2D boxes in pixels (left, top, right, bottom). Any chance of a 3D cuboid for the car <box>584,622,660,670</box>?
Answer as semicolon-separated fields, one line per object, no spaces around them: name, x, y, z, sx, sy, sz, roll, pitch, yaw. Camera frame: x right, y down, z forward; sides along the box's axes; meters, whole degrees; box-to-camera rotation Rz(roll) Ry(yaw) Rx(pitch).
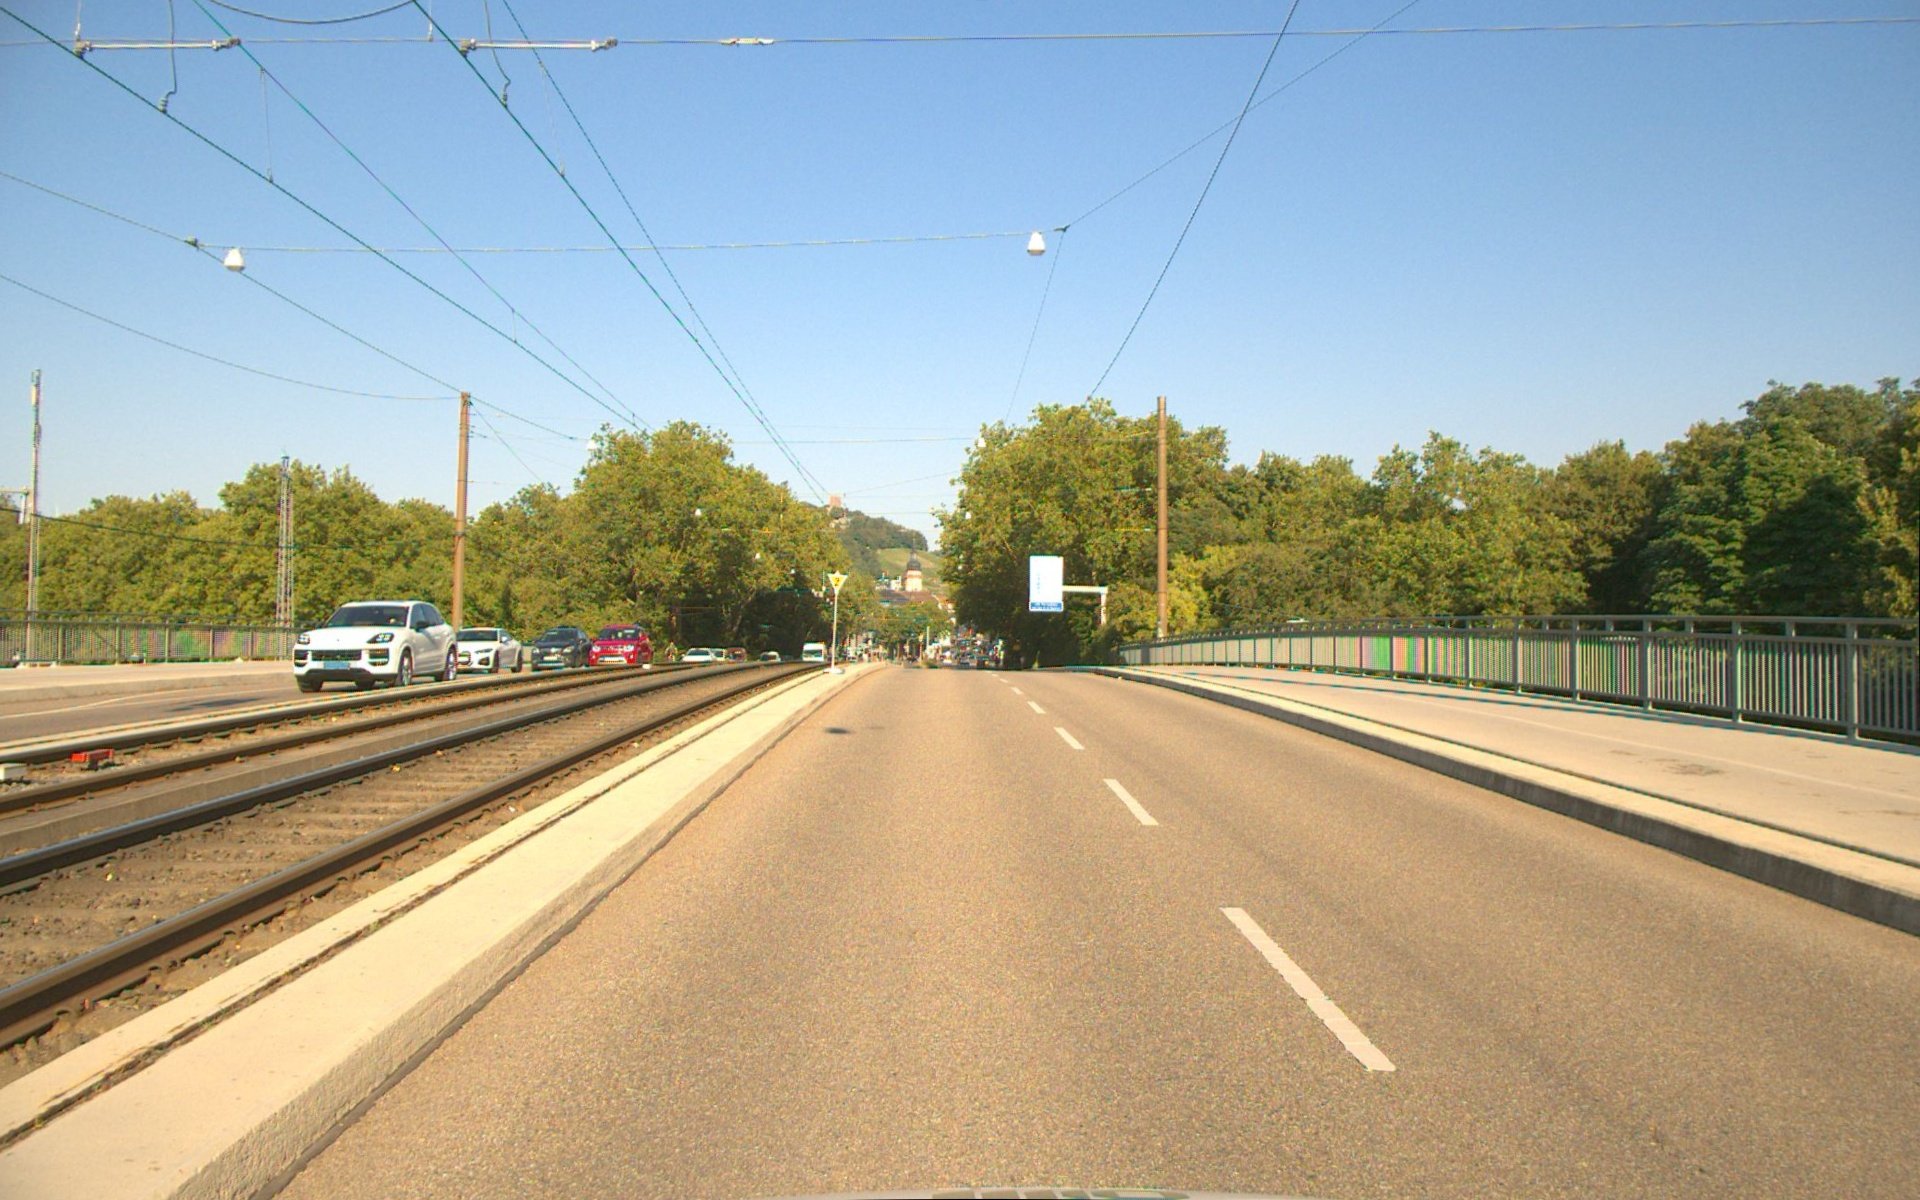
car;-11.467;1.606;56.349;1.771;1.546;3.998;1;-2;-1

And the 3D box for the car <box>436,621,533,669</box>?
car;-14.808;1.382;51.753;1.650;1.380;4.919;0;0;-1

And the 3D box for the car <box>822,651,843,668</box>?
car;-13.982;6.488;181.849;1.835;1.694;4.596;4;-2;0

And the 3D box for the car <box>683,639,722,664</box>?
car;-15.506;3.098;99.870;1.706;1.490;4.953;0;-2;-2

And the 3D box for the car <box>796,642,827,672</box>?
car;-13.572;5.228;151.695;2.043;2.639;6.041;1;-2;2

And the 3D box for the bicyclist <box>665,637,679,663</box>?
bicyclist;-18.739;3.233;107.657;0.666;1.655;0.889;2;-2;0

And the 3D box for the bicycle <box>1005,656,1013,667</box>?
bicycle;5.974;7.544;202.704;0.869;1.344;2.639;0;-2;0

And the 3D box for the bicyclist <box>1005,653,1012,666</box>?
bicyclist;5.975;7.289;202.812;0.869;1.667;1.164;0;-2;0

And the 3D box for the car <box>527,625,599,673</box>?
car;-15.116;1.842;63.143;1.743;1.679;4.446;0;0;-1

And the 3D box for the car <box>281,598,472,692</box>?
car;-11.166;0.812;32.086;1.960;1.666;5.089;0;0;-1

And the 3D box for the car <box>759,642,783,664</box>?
car;-16.526;4.615;144.561;1.707;1.774;4.510;-3;-1;-3

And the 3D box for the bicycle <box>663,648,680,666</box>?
bicycle;-18.754;3.702;107.607;0.665;1.117;2.099;2;-2;0
